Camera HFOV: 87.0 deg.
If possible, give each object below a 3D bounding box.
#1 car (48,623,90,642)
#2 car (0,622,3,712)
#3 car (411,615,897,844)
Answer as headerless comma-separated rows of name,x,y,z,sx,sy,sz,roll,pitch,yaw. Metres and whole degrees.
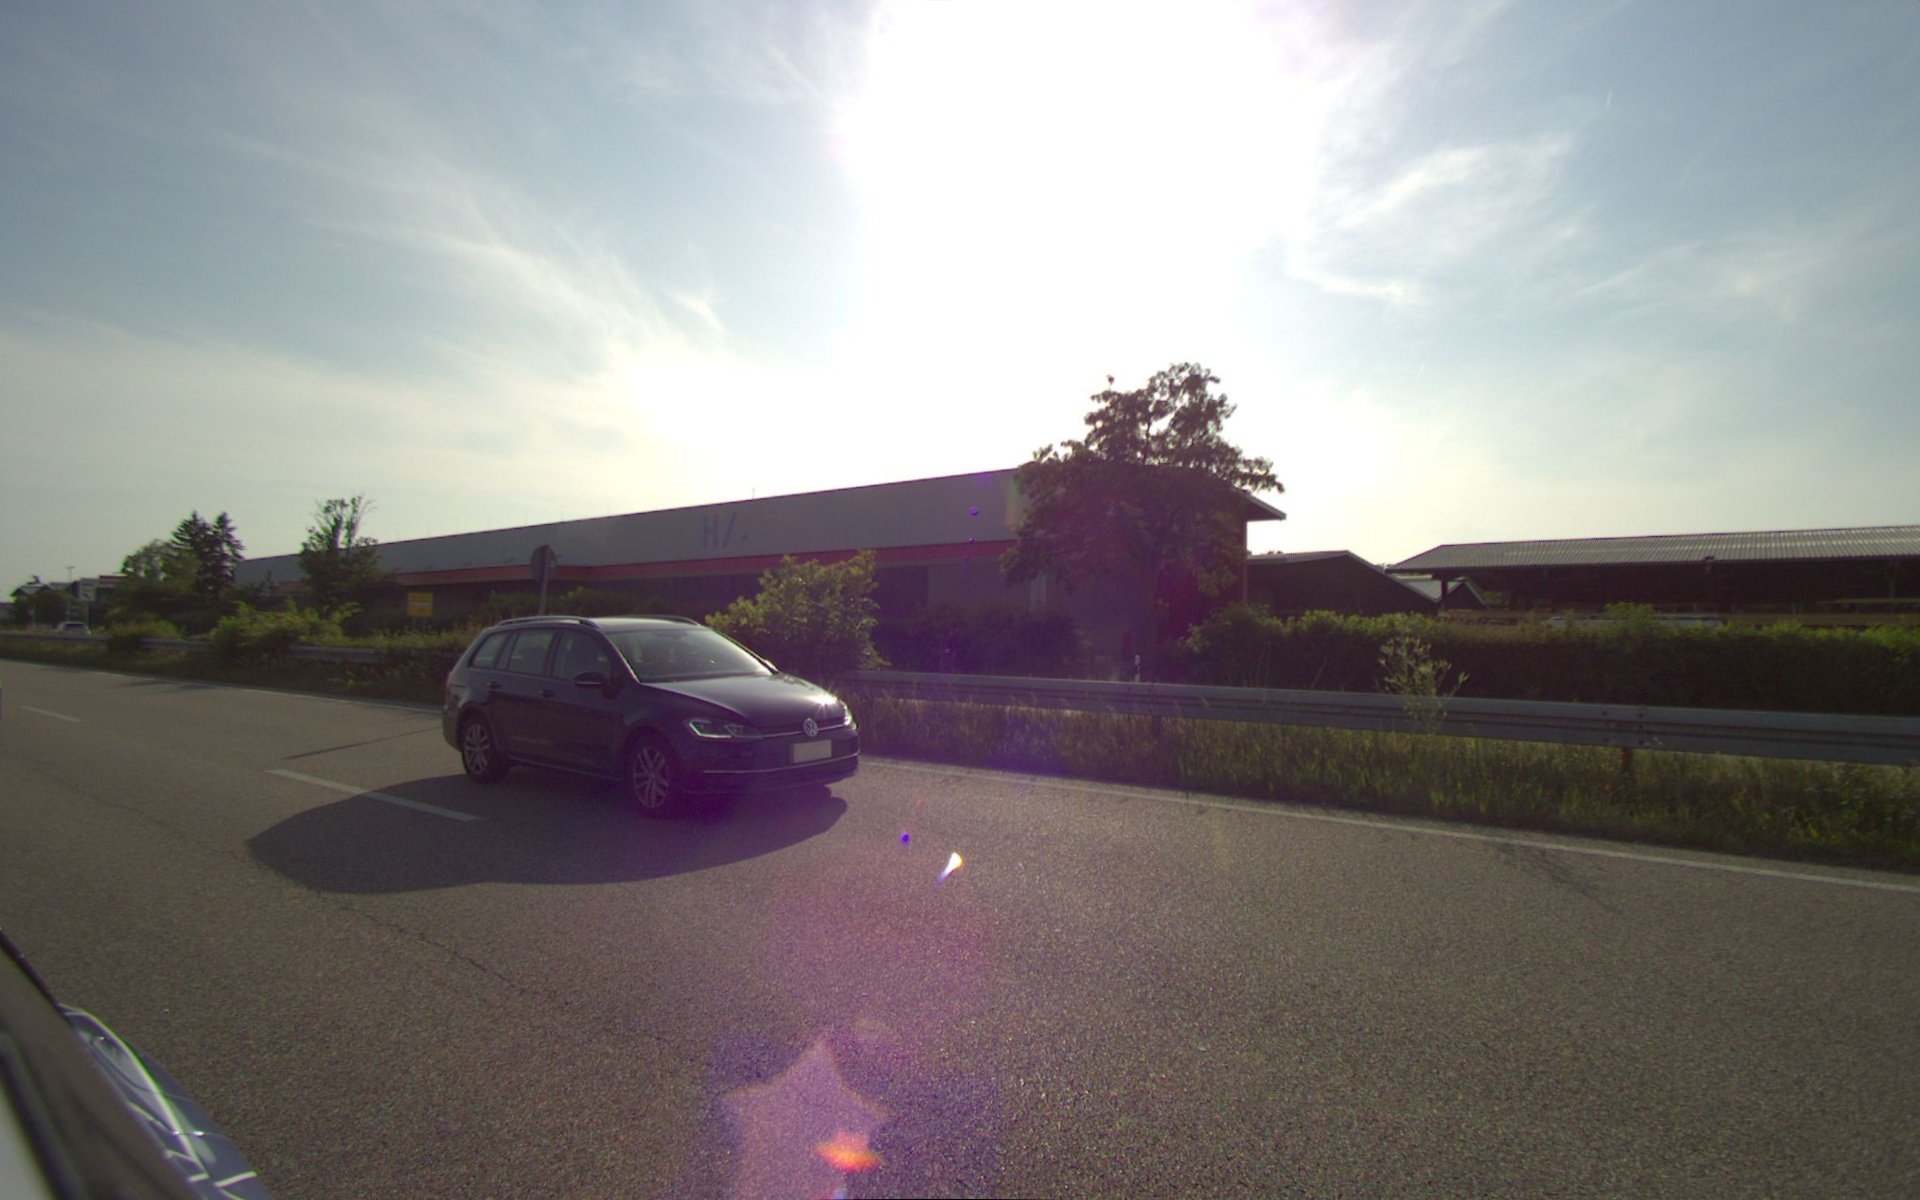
car,-68.193,2.501,77.424,3.996,1.435,1.761,-1,-2,39
car,-15.091,1.052,14.355,5.017,1.482,1.557,-1,-2,39
car,-2.845,0.906,8.730,4.771,1.482,1.630,-1,-2,39
